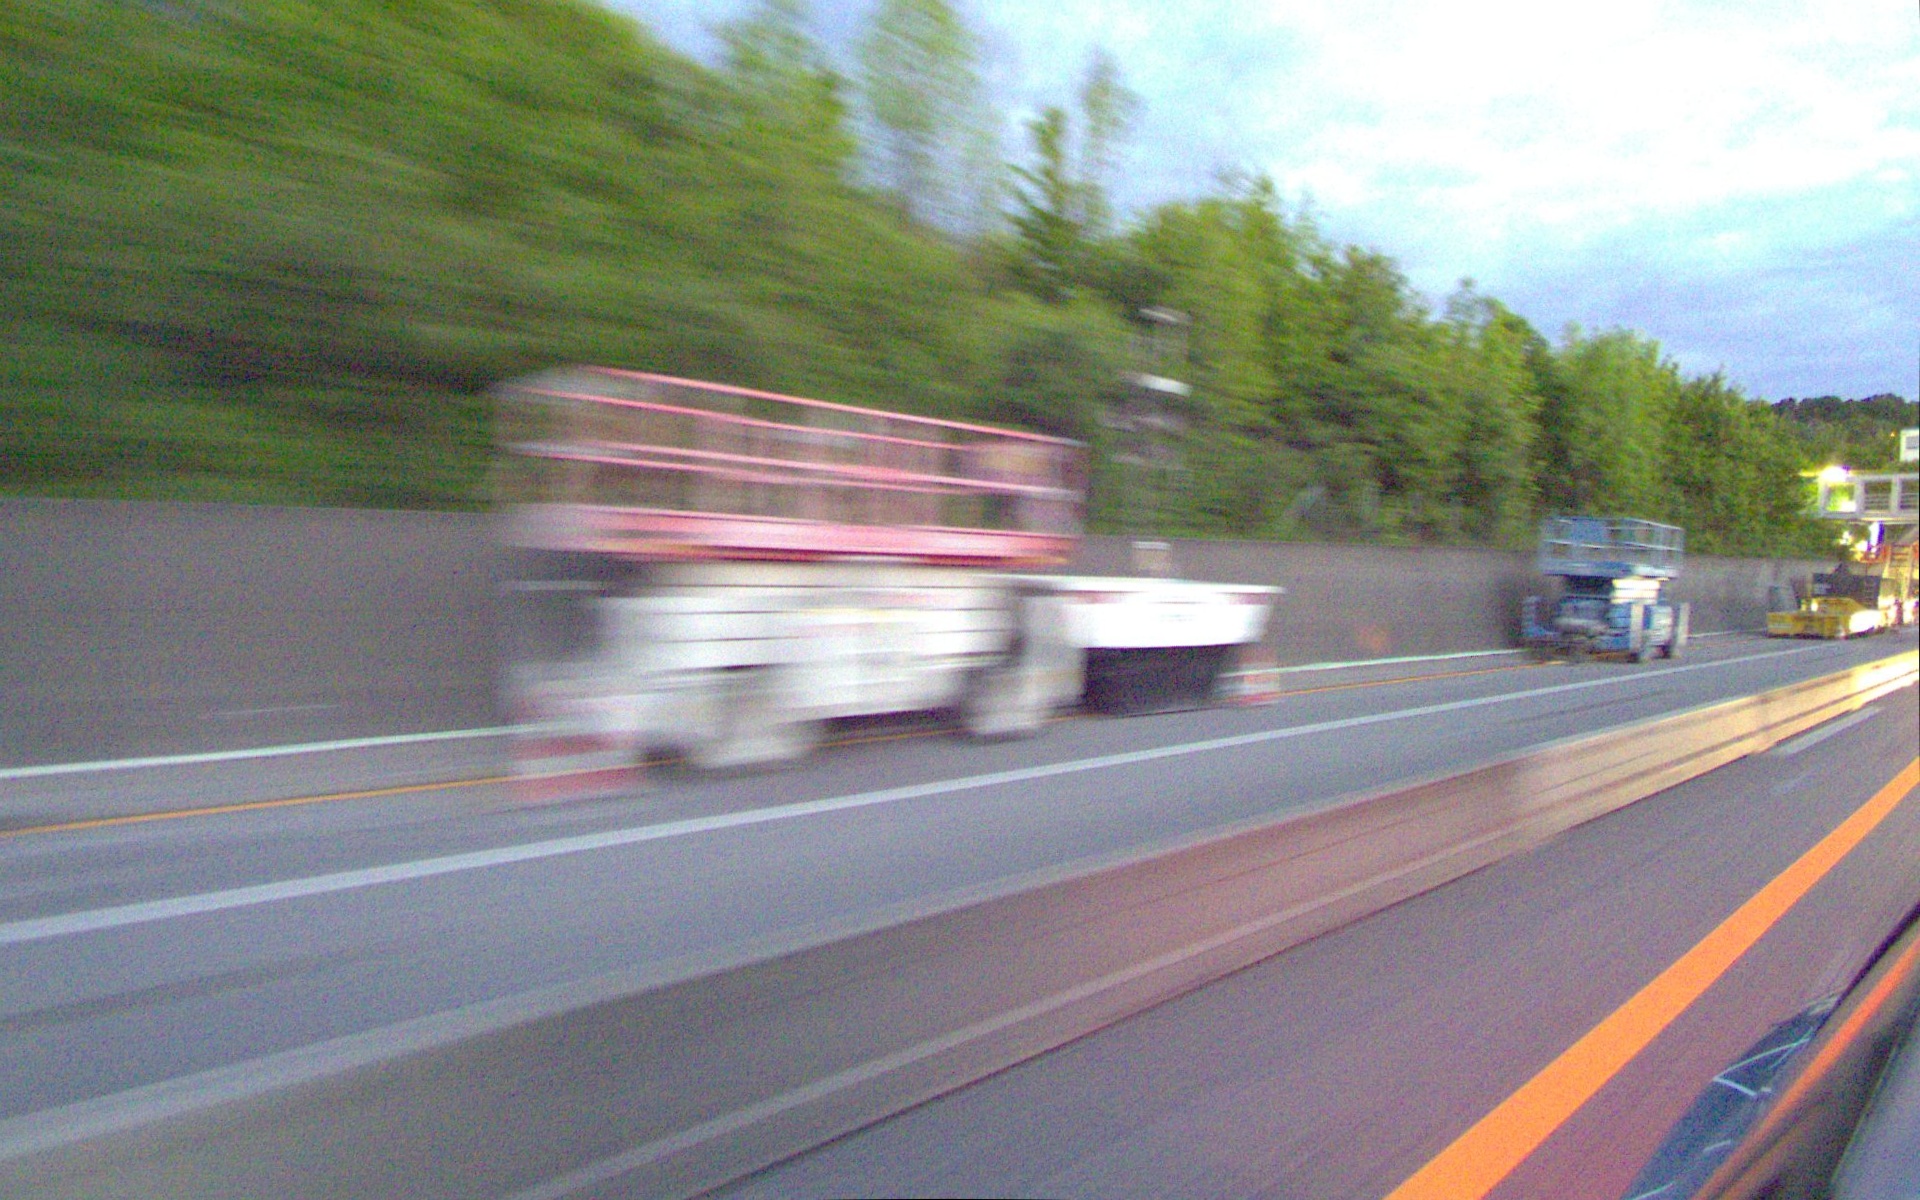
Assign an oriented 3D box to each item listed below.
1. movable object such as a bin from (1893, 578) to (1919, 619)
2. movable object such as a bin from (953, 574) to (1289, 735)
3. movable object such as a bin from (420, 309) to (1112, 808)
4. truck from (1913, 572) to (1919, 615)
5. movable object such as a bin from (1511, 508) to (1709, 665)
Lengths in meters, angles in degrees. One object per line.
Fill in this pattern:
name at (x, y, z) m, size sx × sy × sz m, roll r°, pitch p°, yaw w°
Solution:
movable object such as a bin at (69.466, -0.148, 72.789) m, size 7.075 × 2.863 × 2.973 m, roll -1°, pitch 0°, yaw -43°
movable object such as a bin at (2.087, 0.517, 12.603) m, size 4.013 × 1.621 × 1.998 m, roll -1°, pitch 3°, yaw -40°
movable object such as a bin at (-1.478, -0.321, 9.276) m, size 5.705 × 3.146 × 2.625 m, roll -1°, pitch 2°, yaw -41°
truck at (77.434, -0.554, 79.584) m, size 8.207 × 3.327 × 2.822 m, roll -1°, pitch 0°, yaw -41°
movable object such as a bin at (15.791, -0.370, 24.455) m, size 5.482 × 3.359 × 2.569 m, roll -1°, pitch 2°, yaw -41°
